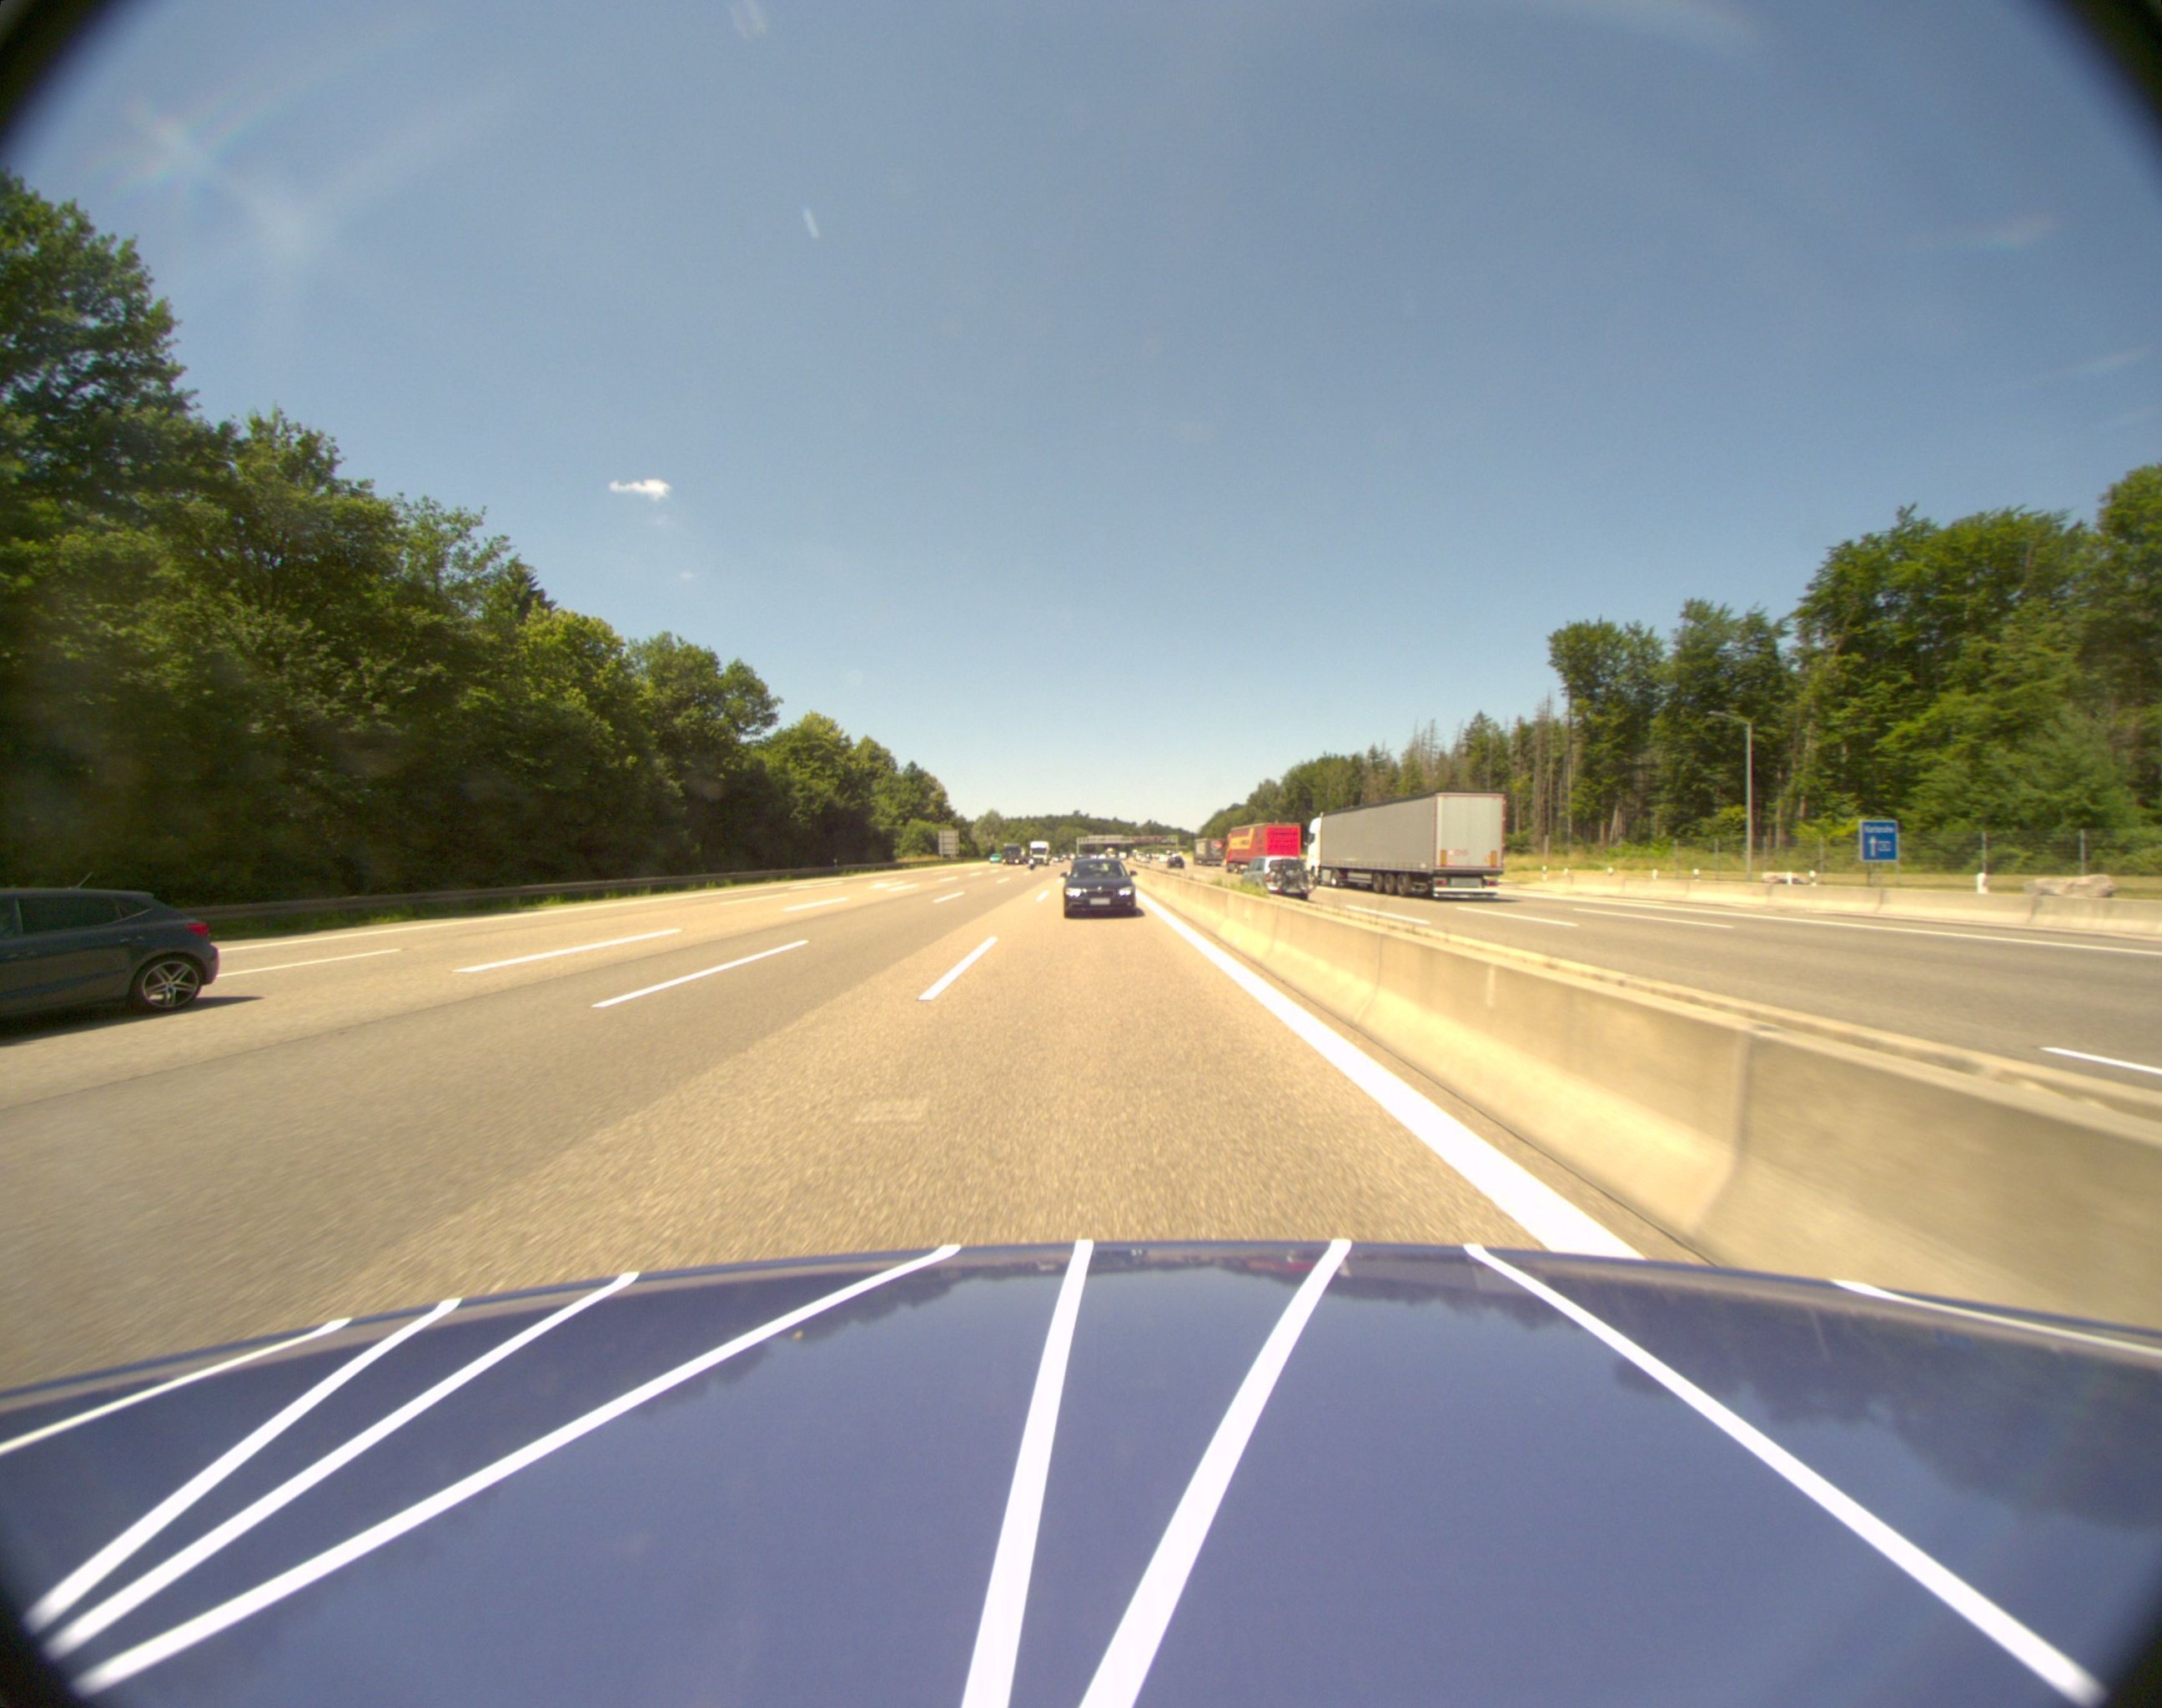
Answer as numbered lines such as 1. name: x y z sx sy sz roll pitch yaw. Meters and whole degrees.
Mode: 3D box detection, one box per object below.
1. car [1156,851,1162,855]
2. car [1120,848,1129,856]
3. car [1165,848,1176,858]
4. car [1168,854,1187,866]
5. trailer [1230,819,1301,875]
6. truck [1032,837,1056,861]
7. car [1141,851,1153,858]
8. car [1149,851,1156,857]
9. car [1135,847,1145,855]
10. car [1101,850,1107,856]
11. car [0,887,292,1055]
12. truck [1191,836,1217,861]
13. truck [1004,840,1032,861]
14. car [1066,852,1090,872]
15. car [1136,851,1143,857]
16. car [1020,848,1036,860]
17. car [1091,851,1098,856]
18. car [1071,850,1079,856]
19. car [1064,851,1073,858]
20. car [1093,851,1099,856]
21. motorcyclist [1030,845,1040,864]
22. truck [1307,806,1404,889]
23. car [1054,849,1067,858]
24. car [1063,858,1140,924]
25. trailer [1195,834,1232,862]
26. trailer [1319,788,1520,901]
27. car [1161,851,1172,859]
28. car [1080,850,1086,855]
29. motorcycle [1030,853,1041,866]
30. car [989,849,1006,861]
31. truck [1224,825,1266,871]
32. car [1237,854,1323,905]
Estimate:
1. car: 25.434 -0.340 248.495 1.734 1.561 3.863 0 0 1
2. car: 11.581 -0.581 201.884 2.082 2.032 5.711 0 0 2
3. car: 23.307 -0.322 197.597 1.953 2.398 6.345 1 0 0
4. car: 11.423 0.650 90.133 1.826 1.379 4.315 0 0 1
5. trailer: 14.802 -0.570 62.210 2.577 4.026 14.181 0 0 1
6. truck: -5.060 -0.698 104.964 2.428 3.237 8.690 0 1 3
7. car: 12.646 0.061 146.402 1.998 1.369 5.010 0 1 2
8. car: 20.686 -0.032 219.377 1.734 1.561 4.673 1 0 1
9. car: 13.760 -0.702 177.104 1.998 2.002 5.129 0 1 2
10. car: 7.357 -0.362 240.995 1.998 1.935 4.128 -1 0 3
11. car: -10.946 1.200 7.374 1.647 1.430 4.634 -3 1 0
12. truck: 20.090 -0.925 124.360 3.296 3.908 5.539 0 1 1
13. truck: -8.993 -0.505 109.620 2.660 2.839 10.886 0 1 3
14. car: -0.211 0.611 60.441 1.834 1.454 4.204 0 1 1
15. car: 15.922 0.041 206.651 1.832 1.689 5.003 1 0 1
16. car: -8.380 -0.056 120.412 1.998 1.885 4.870 0 1 3
17. car: 4.255 -0.078 235.530 1.910 1.450 4.128 0 1 4
18. car: -1.541 -0.339 197.779 1.747 1.529 4.127 0 1 2
19. car: -3.020 0.133 184.594 1.998 1.671 4.127 0 1 2
20. car: 5.109 -0.117 252.048 1.910 1.450 4.127 0 1 2
21. motorcyclist: -4.689 0.077 77.759 0.914 1.926 0.905 0 1 0
22. truck: 14.281 -0.337 40.185 2.741 4.008 6.781 0 1 1
23. car: -3.795 -0.090 141.194 1.998 1.671 4.127 0 1 2
24. car: 0.533 0.867 19.779 1.741 1.450 4.542 -1 0 2
25. trailer: 20.023 -0.887 116.247 3.350 3.978 14.278 0 0 1
26. trailer: 14.193 -0.379 34.058 2.761 3.978 14.466 0 0 1
27. car: 17.542 0.199 156.017 1.809 1.477 3.810 0 0 1
28. car: 0.766 -0.553 256.869 1.910 1.450 4.127 0 1 2
29. motorcycle: -4.679 0.560 77.819 0.925 1.311 2.998 0 0 1
30. car: -12.804 0.141 116.886 1.998 1.671 4.127 0 1 2
31. truck: 14.819 -0.533 69.052 2.534 4.026 6.472 0 1 1
32. car: 7.152 0.843 27.845 1.788 1.633 5.462 0 0 1
